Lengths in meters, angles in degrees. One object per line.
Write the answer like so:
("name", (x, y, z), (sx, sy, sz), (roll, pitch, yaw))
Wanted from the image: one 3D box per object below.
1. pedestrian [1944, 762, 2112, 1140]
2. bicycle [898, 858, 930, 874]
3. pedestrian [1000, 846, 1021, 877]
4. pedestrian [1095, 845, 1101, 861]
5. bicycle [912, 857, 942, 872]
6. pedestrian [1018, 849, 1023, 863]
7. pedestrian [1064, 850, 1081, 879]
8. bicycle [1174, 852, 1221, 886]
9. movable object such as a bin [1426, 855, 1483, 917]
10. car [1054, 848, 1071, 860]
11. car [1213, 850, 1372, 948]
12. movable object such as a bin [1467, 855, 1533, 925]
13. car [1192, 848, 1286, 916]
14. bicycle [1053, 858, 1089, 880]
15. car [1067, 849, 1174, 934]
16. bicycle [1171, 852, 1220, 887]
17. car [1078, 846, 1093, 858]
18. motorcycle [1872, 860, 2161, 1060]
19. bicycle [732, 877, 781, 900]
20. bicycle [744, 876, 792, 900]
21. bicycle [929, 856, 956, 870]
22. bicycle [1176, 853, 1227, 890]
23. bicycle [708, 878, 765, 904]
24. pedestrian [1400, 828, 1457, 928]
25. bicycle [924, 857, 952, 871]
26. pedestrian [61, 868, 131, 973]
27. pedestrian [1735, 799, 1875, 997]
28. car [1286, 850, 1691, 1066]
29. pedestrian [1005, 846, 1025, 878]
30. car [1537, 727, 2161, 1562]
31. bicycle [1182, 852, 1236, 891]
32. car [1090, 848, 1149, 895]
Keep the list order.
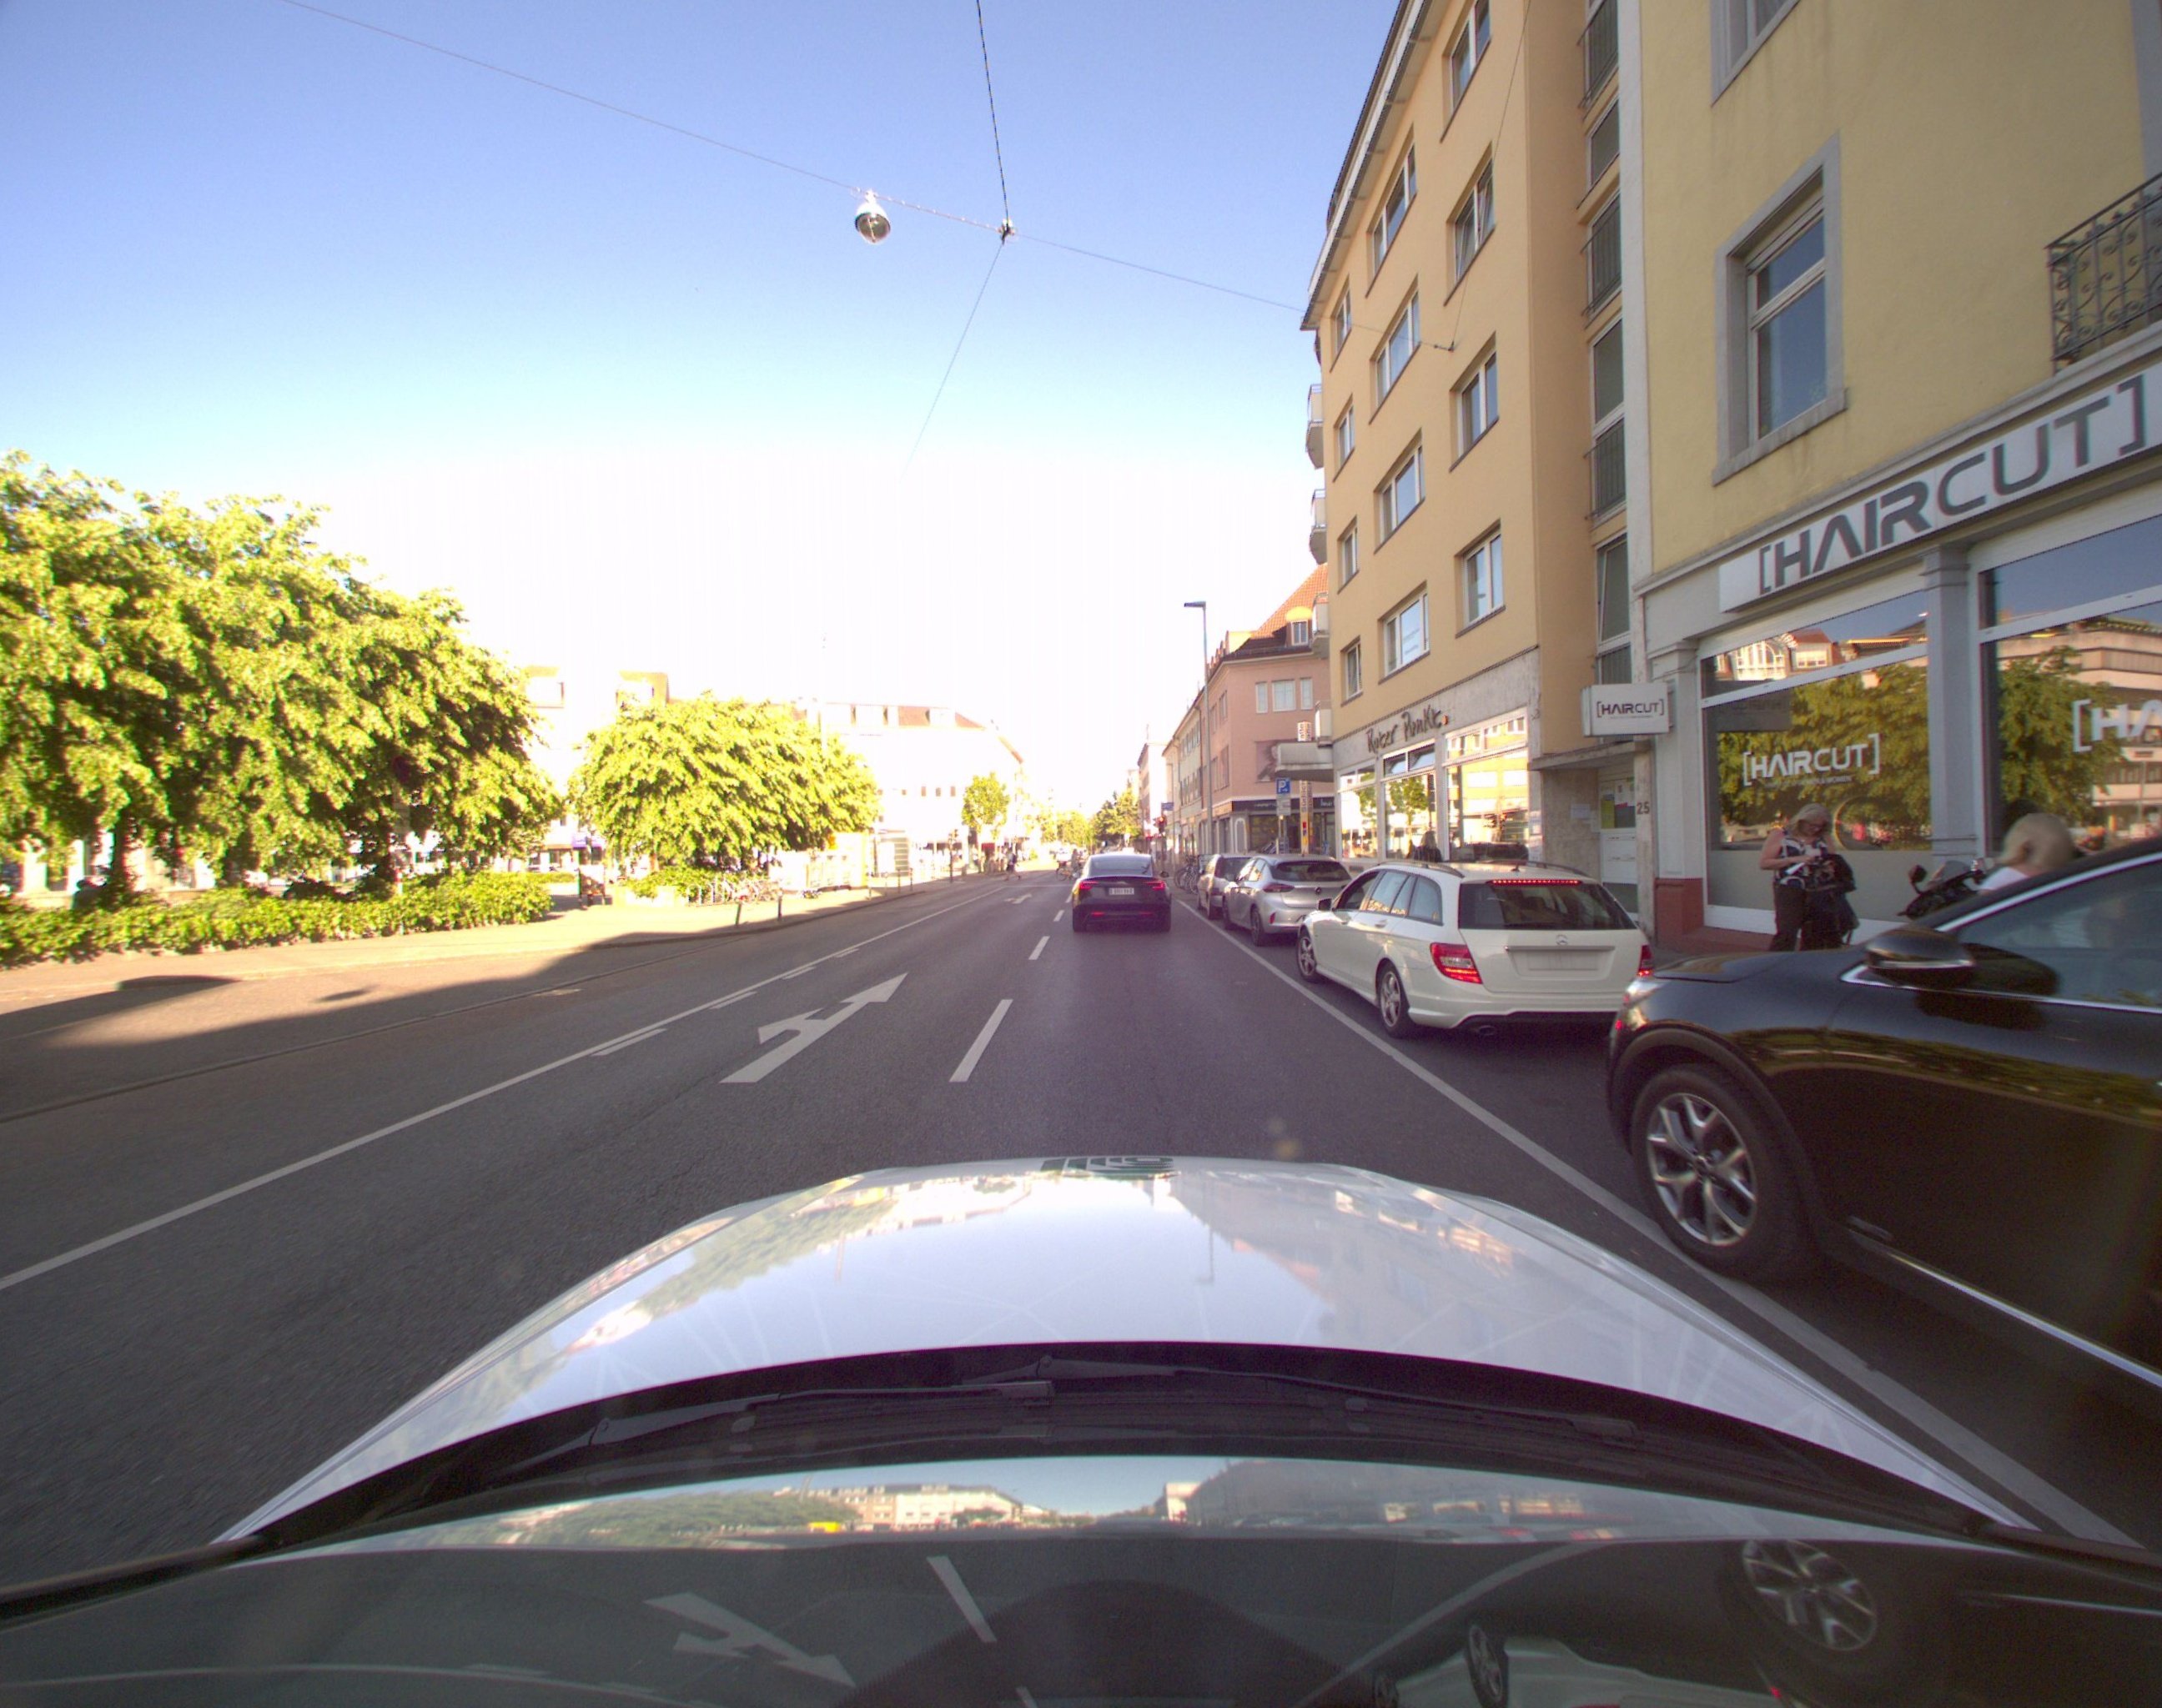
("pedestrian", (4.769, 0.449, 4.110), (0.436, 1.762, 0.477), (0, 0, -31))
("bicycle", (-11.976, 0.835, 58.451), (2.074, 1.104, 0.806), (-1, 0, 1))
("pedestrian", (-3.727, 0.404, 43.279), (0.981, 1.636, 0.738), (-1, 0, 5))
("pedestrian", (2.296, -0.126, 108.862), (0.620, 2.013, 0.562), (-1, 0, 26))
("bicycle", (-11.540, 0.805, 60.960), (2.074, 1.104, 0.806), (-1, 0, 1))
("pedestrian", (-8.710, 0.334, 117.242), (0.623, 2.013, 0.707), (-1, 0, 2))
("pedestrian", (-0.417, 0.507, 39.687), (0.738, 1.440, 0.584), (0, 0, 11))
("bicycle", (4.286, 0.536, 29.985), (1.621, 1.160, 0.433), (-3, 0, 3))
("movable object such as a bin", (6.804, 0.571, 14.850), (0.700, 1.067, 0.620), (-4, 0, 1))
("car", (-2.552, -0.009, 111.851), (1.986, 1.541, 4.002), (-4, 0, 2))
("car", (3.467, 0.653, 14.115), (1.665, 1.427, 4.076), (-1, 0, -1))
("movable object such as a bin", (6.777, 0.570, 13.195), (0.700, 1.067, 0.620), (-4, 0, 1))
("car", (3.542, 0.572, 18.867), (1.615, 1.394, 3.889), (-1, 0, 3))
("bicycle", (-0.483, 0.715, 39.216), (1.605, 1.045, 0.593), (0, 0, 11))
("car", (0.790, 0.652, 16.116), (1.842, 1.455, 3.789), (-1, 0, 3))
("bicycle", (4.068, 0.558, 28.940), (1.622, 1.160, 0.433), (-3, 0, 1))
("car", (0.715, -0.277, 124.279), (2.042, 1.727, 4.657), (-1, 0, 3))
("motorcycle", (6.417, 0.612, 5.316), (0.548, 1.091, 2.009), (-3, 0, 1))
("bicycle", (-10.801, 1.146, 27.082), (1.465, 0.769, 0.442), (0, 0, 6))
("bicycle", (-10.606, 1.155, 27.627), (1.466, 0.769, 0.475), (0, 0, 4))
("bicycle", (-11.578, 0.750, 67.937), (2.074, 1.104, 0.806), (-1, 0, 1))
("bicycle", (4.083, 0.581, 27.696), (1.622, 1.160, 0.433), (-3, 0, 1))
("bicycle", (-10.867, 1.163, 25.680), (1.645, 0.769, 0.476), (0, 0, 11))
("pedestrian", (5.943, 0.405, 13.963), (0.659, 1.633, 0.629), (-3, -1, 6))
("bicycle", (-11.552, 0.800, 65.740), (2.074, 1.104, 0.806), (-1, 0, 1))
("pedestrian", (-18.088, 1.195, 14.967), (0.582, 1.856, 0.598), (0, 0, -17))
("pedestrian", (6.299, 0.370, 7.109), (0.694, 1.632, 0.532), (-2, 0, 0))
("car", (3.355, 0.701, 7.816), (1.732, 1.447, 4.465), (-1, 0, 1))
("pedestrian", (-3.570, 0.413, 44.170), (0.896, 1.725, 0.745), (-1, 0, 5))
("car", (3.117, 0.594, 1.631), (1.750, 1.736, 4.569), (-1, 0, -2))
("bicycle", (4.162, 0.561, 26.518), (1.622, 1.160, 0.433), (-3, 0, 1))
("car", (1.320, 0.554, 27.562), (1.842, 1.455, 3.789), (-1, 0, 3))
